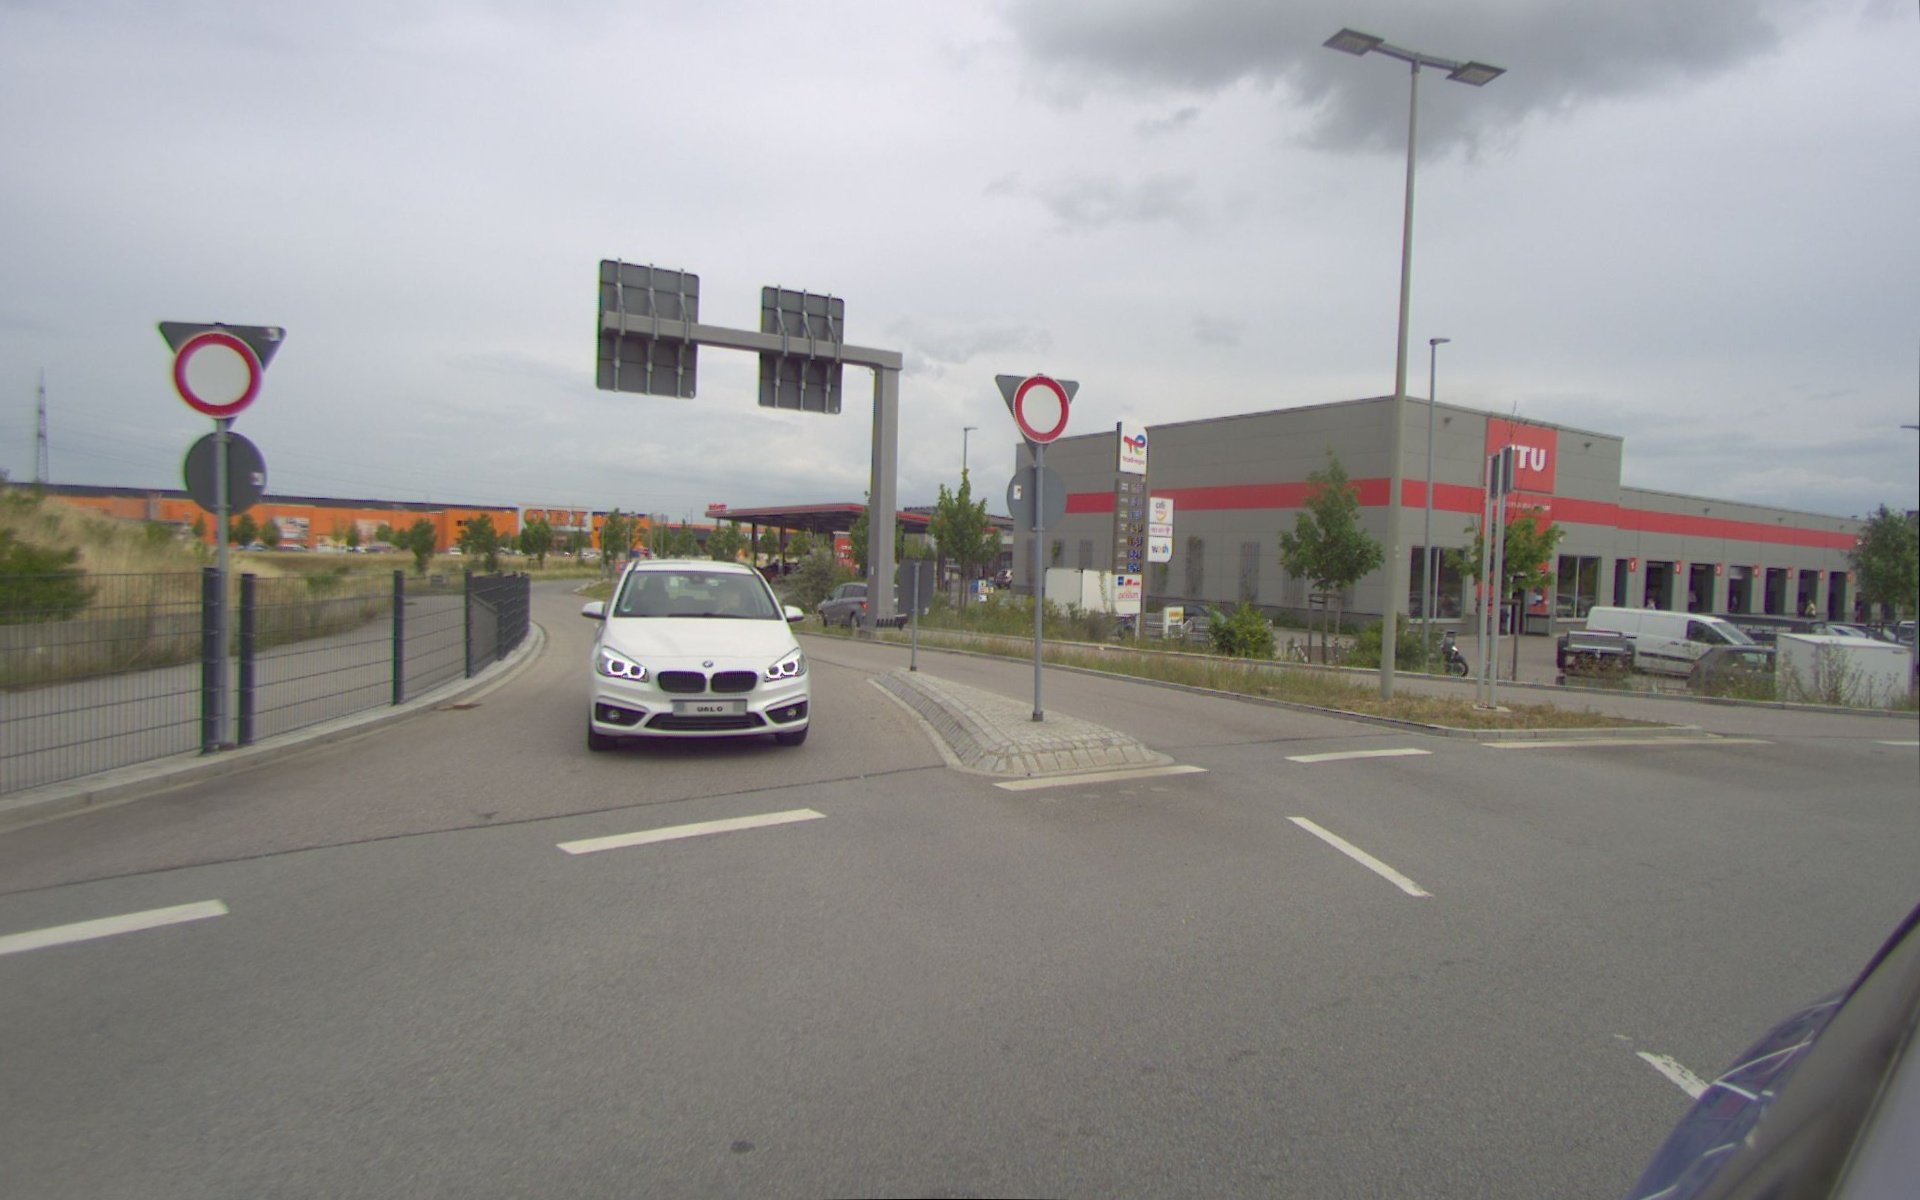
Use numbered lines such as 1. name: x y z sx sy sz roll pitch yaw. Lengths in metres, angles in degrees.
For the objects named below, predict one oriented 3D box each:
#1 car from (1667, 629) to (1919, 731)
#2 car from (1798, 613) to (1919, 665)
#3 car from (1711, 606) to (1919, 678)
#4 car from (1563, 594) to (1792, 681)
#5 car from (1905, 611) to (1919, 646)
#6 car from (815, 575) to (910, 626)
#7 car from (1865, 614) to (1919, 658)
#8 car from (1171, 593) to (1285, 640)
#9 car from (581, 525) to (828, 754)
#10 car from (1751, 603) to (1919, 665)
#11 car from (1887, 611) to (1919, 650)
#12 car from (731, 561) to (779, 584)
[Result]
1. car: 19.176 1.711 22.838 1.928 1.696 4.838 1 3 -35
2. car: 32.333 1.354 35.888 1.560 1.659 3.700 1 1 -35
3. car: 26.475 1.237 31.390 1.879 1.661 4.679 1 4 -35
4. car: 21.034 1.012 29.907 1.962 2.072 5.082 1 3 -35
5. car: 45.153 1.377 45.448 1.560 1.564 3.700 1 1 -35
6. car: -3.339 -0.011 34.068 1.878 1.594 4.006 0 1 -27
7. car: 38.159 1.448 39.701 1.560 1.659 3.700 1 1 -35
8. car: 9.370 0.551 35.615 3.677 1.594 1.913 1 0 9
9. car: -2.535 0.224 9.658 1.746 1.649 4.438 1 2 -17
10. car: 30.024 1.115 34.780 1.560 1.859 4.203 1 1 -35
11. car: 42.177 1.360 43.124 1.560 1.659 3.700 1 1 -35
12. car: -17.747 -2.384 87.660 1.712 1.816 3.776 3 0 45
